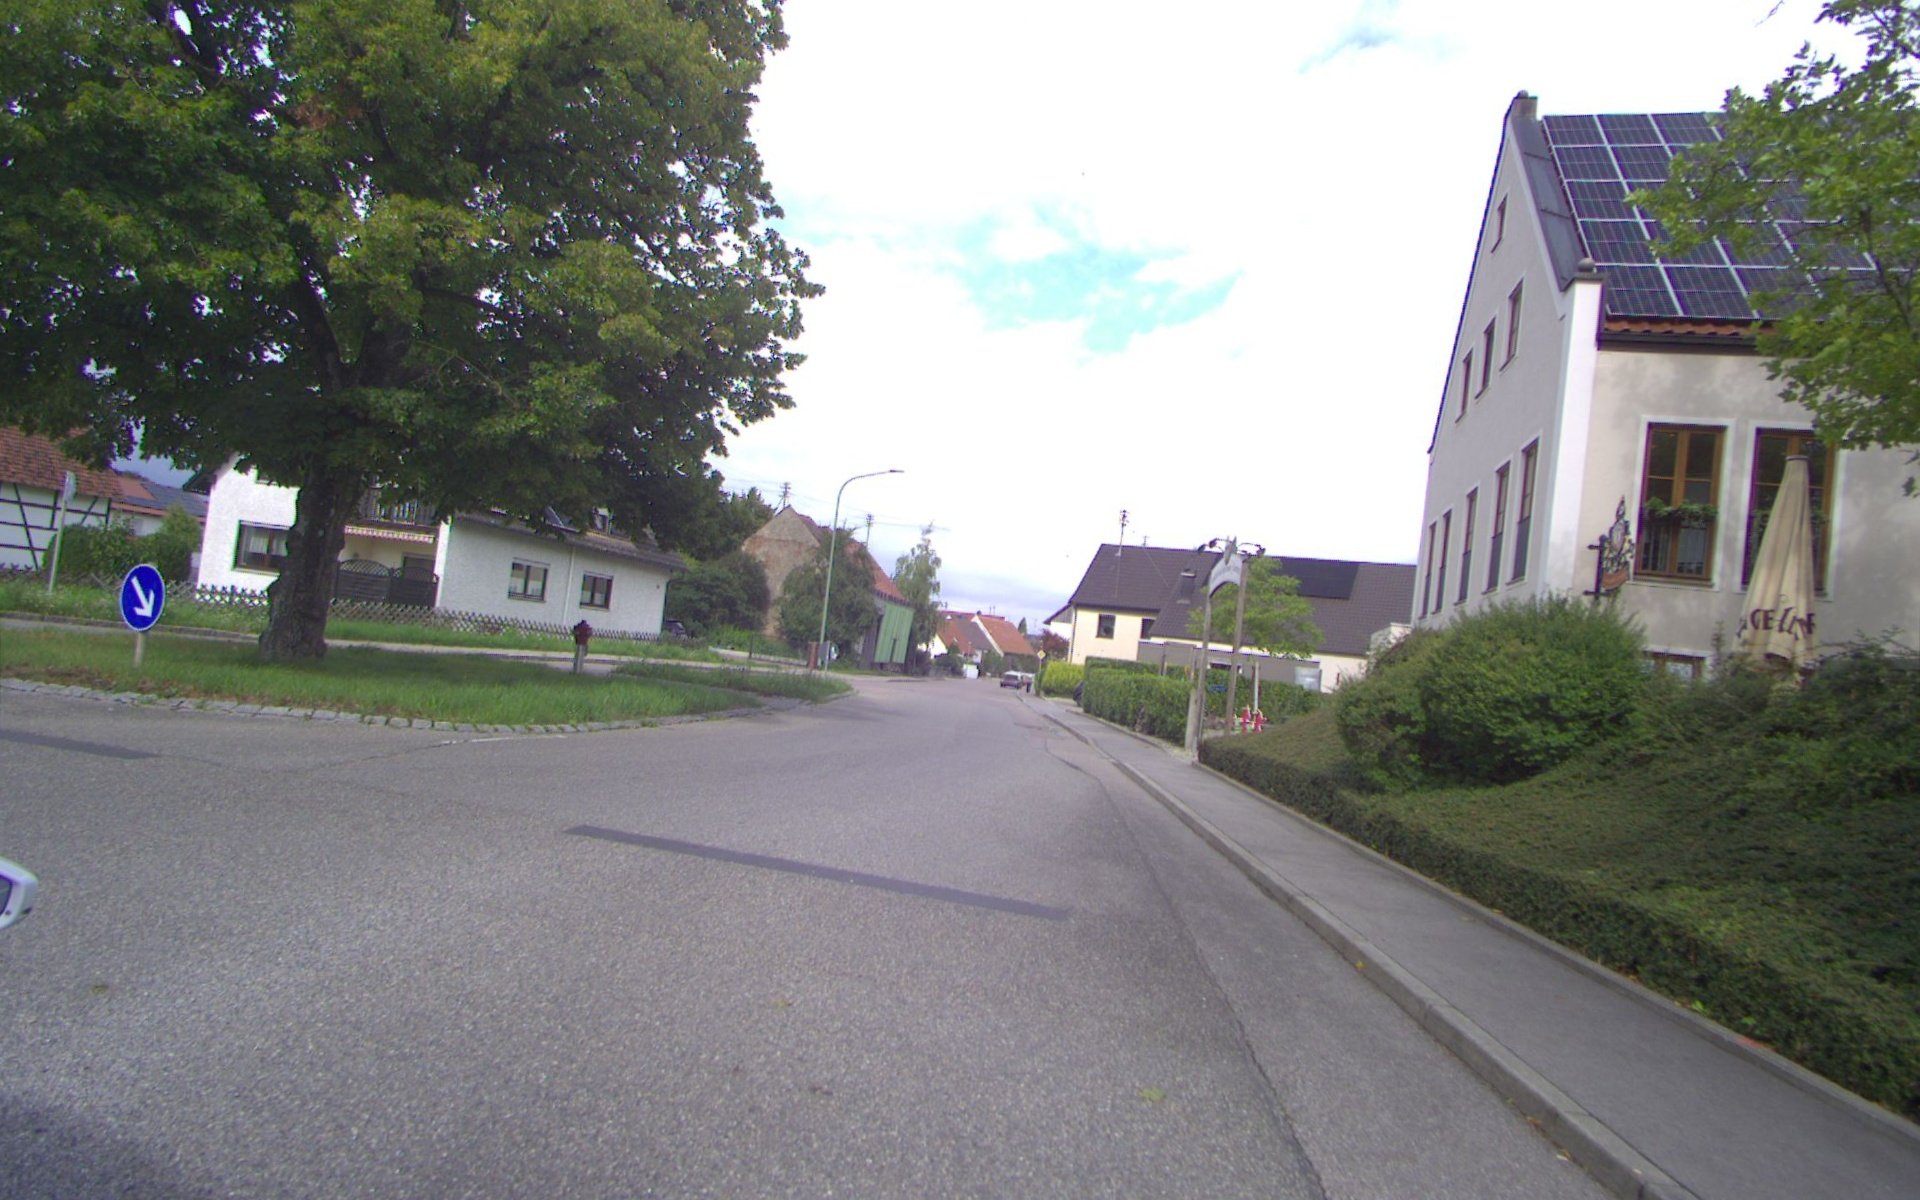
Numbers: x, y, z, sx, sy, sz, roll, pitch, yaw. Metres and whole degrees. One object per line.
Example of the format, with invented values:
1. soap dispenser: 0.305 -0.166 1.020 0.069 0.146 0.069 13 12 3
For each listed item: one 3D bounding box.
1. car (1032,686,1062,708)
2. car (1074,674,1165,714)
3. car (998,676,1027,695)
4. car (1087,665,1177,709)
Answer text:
1. car: 7.468 8.339 86.495 1.698 1.624 4.006 6 -3 16
2. car: 7.257 4.249 45.710 3.833 1.419 1.703 4 -2 18
3. car: 4.965 8.053 94.623 1.698 1.624 4.006 6 -3 16
4. car: 8.217 4.147 48.141 3.840 1.719 1.700 3 -3 28
